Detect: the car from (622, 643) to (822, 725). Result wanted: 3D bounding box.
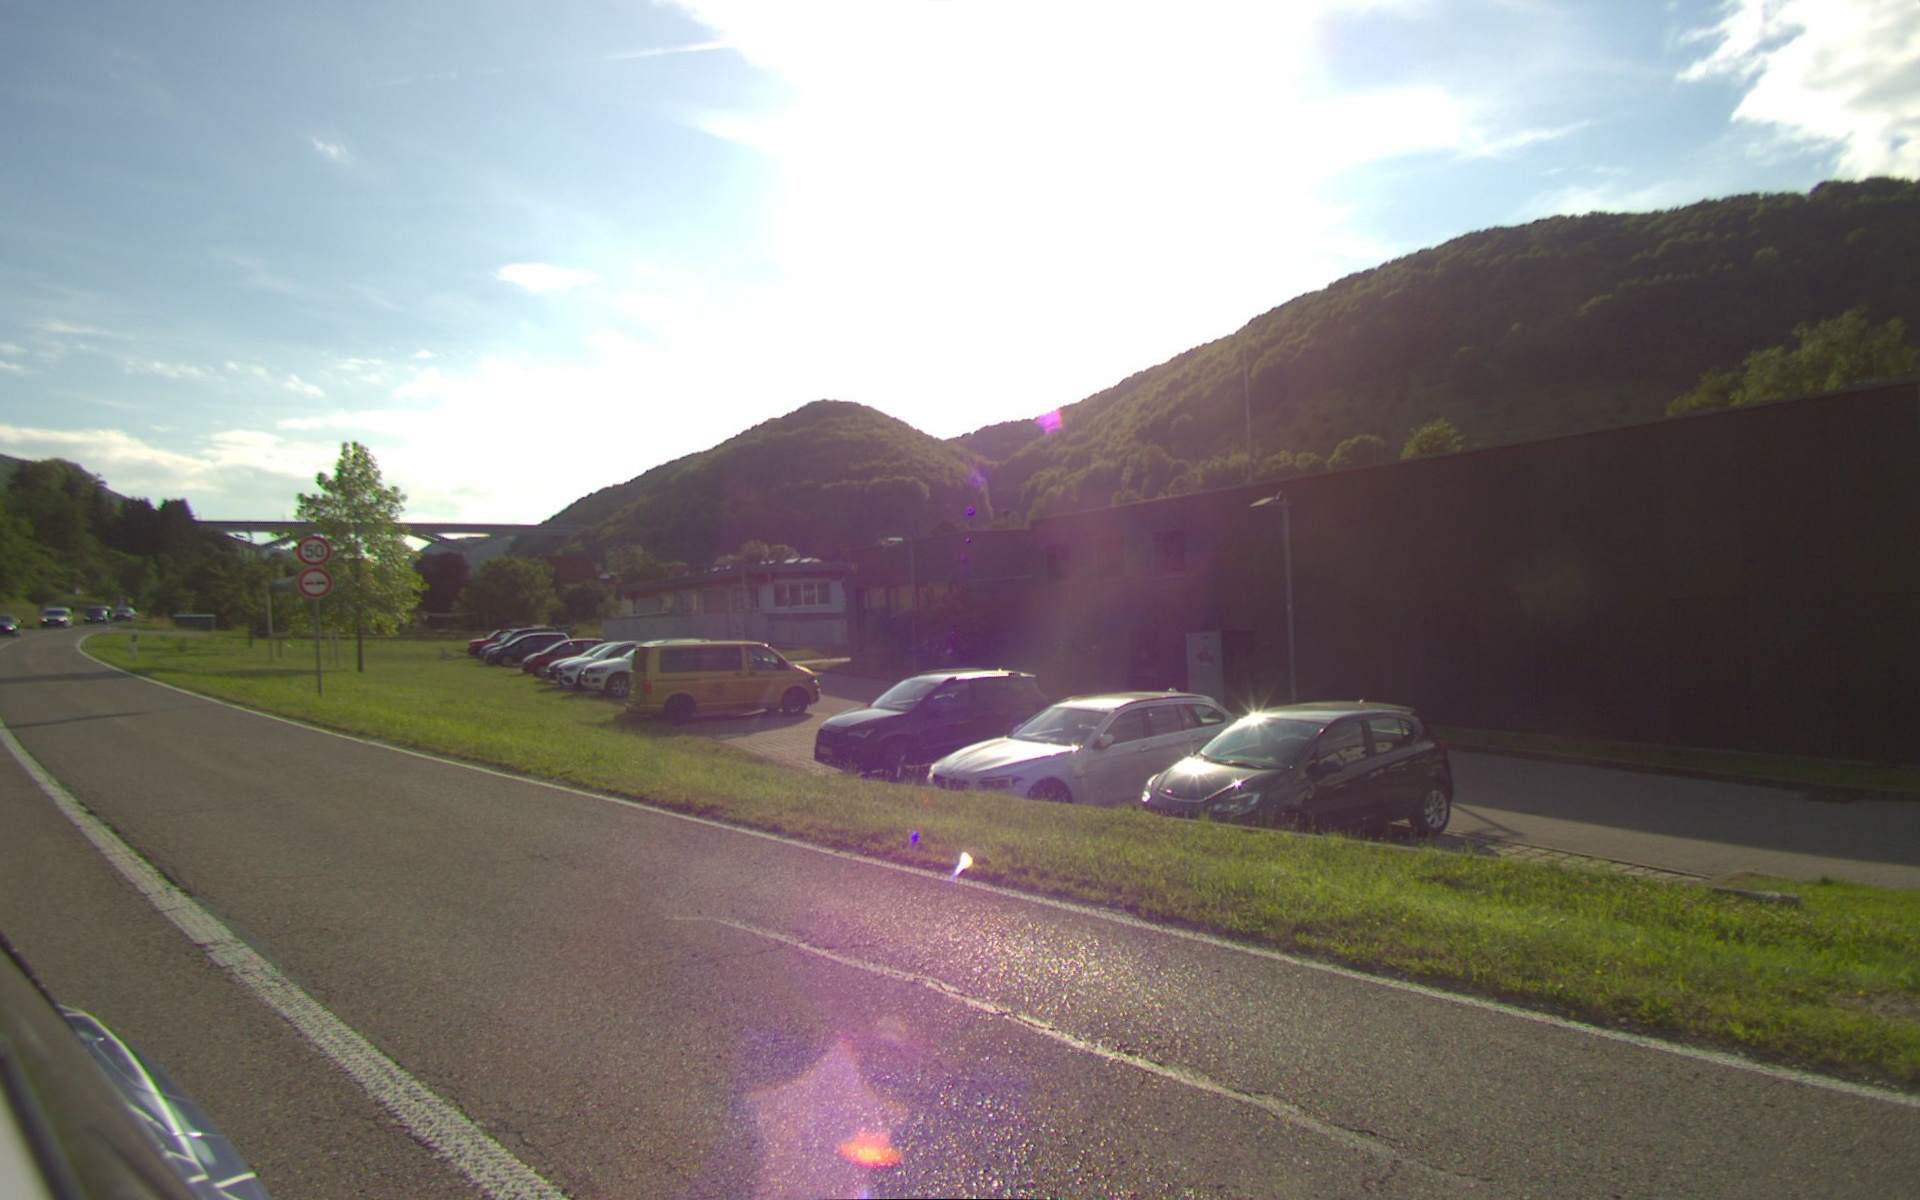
[{"bbox_3d":[-6.037,2.061,25.795,4.583,1.827,2.006,0,-2,-30],"label":"car"}]

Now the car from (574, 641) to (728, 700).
[{"bbox_3d":[-10.069,2.249,33.019,4.477,1.714,2.006,0,-2,-30],"label":"car"}]

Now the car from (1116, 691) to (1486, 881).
[{"bbox_3d":[3.890,1.930,11.439,3.932,1.546,1.839,0,-2,-31],"label":"car"}]

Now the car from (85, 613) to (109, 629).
[{"bbox_3d":[-93.282,2.252,109.409,1.652,1.659,3.354,0,-1,-35],"label":"car"}]

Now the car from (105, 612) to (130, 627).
[{"bbox_3d":[-102.017,2.346,122.550,1.967,1.730,4.010,-1,-1,-34],"label":"car"}]

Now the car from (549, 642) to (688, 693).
[{"bbox_3d":[-12.091,2.344,35.891,4.370,1.599,2.006,0,-2,-30],"label":"car"}]

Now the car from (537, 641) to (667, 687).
[{"bbox_3d":[-13.716,2.394,38.859,4.371,1.595,2.006,1,-2,-32],"label":"car"}]

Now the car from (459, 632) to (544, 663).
[{"bbox_3d":[-27.293,2.791,60.242,4.371,1.733,2.006,0,-2,-31],"label":"car"}]

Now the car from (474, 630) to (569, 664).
[{"bbox_3d":[-24.188,2.553,55.907,4.595,1.776,2.006,1,-2,-31],"label":"car"}]

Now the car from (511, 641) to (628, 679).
[{"bbox_3d":[-16.593,2.513,43.009,4.370,1.463,2.006,0,-2,-30],"label":"car"}]

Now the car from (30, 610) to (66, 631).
[{"bbox_3d":[-80.513,1.843,89.397,1.770,1.749,4.294,-1,-1,-35],"label":"car"}]

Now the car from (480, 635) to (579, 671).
[{"bbox_3d":[-21.943,2.675,51.634,4.371,1.595,2.006,-1,-1,-31],"label":"car"}]

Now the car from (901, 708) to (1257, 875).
[{"bbox_3d":[1.671,2.378,13.486,4.577,1.508,1.918,1,-2,-34],"label":"car"}]

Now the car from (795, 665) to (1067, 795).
[{"bbox_3d":[-0.435,2.087,17.210,4.226,1.650,1.917,-2,-1,-35],"label":"car"}]
